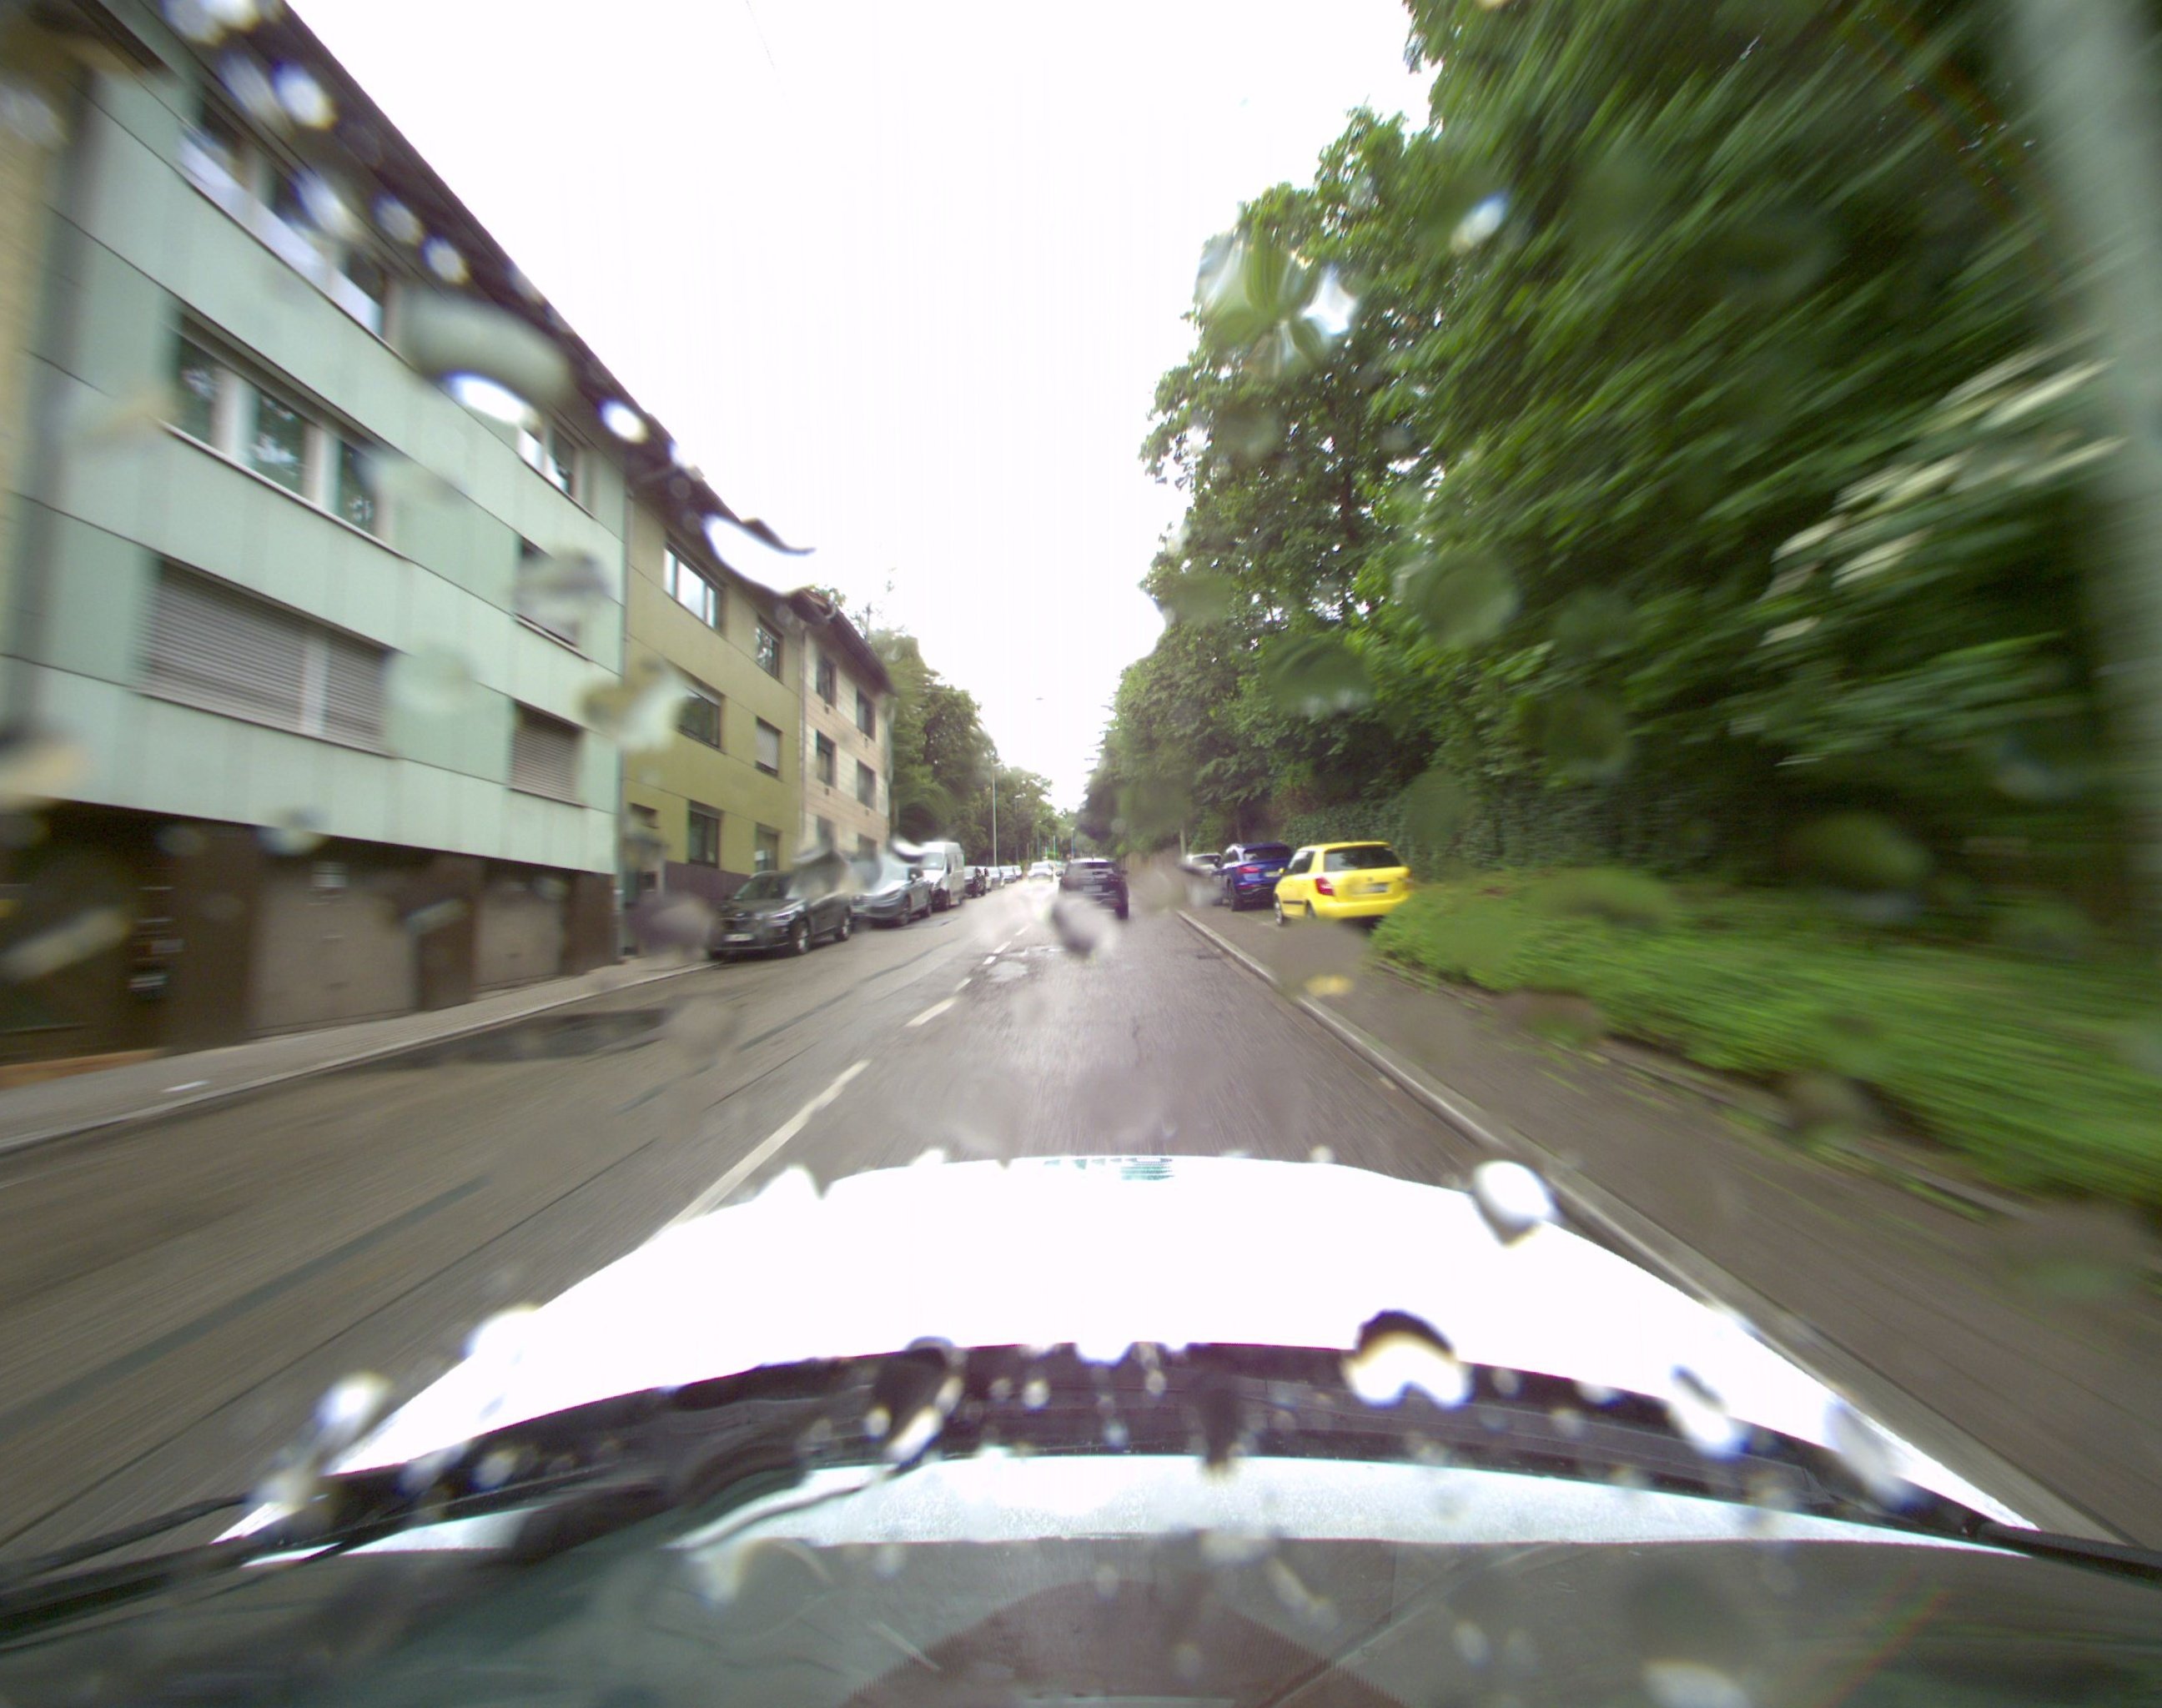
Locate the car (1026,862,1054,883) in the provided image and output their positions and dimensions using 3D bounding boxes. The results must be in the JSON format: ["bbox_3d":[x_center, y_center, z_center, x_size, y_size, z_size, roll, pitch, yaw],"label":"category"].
[{"bbox_3d":[-3.201,1.455,64.568,1.987,1.559,3.999,-1,0,0],"label":"car"}]

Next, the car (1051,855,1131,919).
[{"bbox_3d":[0.307,0.821,22.337,1.986,1.559,4.001,-1,0,1],"label":"car"}]

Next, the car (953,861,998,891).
[{"bbox_3d":[-6.144,1.279,47.883,1.984,1.566,4.458,-2,0,0],"label":"car"}]

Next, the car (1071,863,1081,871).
[{"bbox_3d":[-1.063,2.933,183.862,2.068,1.559,3.999,-2,0,0],"label":"car"}]

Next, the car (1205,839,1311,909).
[{"bbox_3d":[4.498,0.496,21.341,1.804,1.530,4.418,-4,-1,1],"label":"car"}]

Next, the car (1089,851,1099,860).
[{"bbox_3d":[2.837,0.311,174.288,1.985,1.560,4.003,-3,-2,4],"label":"car"}]

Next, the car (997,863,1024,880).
[{"bbox_3d":[-6.305,1.578,73.598,1.984,1.384,4.458,-2,0,0],"label":"car"}]

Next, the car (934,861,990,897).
[{"bbox_3d":[-5.843,1.209,40.523,1.984,1.566,4.458,-2,0,0],"label":"car"}]

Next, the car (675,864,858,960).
[{"bbox_3d":[-6.194,1.060,16.658,1.984,1.585,4.305,-2,0,0],"label":"car"}]

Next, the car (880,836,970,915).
[{"bbox_3d":[-5.475,0.697,29.360,1.984,2.475,5.784,-2,0,0],"label":"car"}]

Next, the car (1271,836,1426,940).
[{"bbox_3d":[4.456,0.517,14.164,1.625,1.530,4.004,-1,0,4],"label":"car"}]

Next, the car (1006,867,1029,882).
[{"bbox_3d":[-6.564,2.084,85.046,1.984,1.384,4.458,-2,0,0],"label":"car"}]

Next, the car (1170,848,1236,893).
[{"bbox_3d":[4.743,0.643,32.206,1.805,1.530,4.415,-4,-1,-1],"label":"car"}]

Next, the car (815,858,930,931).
[{"bbox_3d":[-5.683,1.025,22.828,1.984,1.755,4.480,-2,0,0],"label":"car"}]

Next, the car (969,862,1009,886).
[{"bbox_3d":[-5.932,1.238,53.008,1.984,1.384,4.458,-2,0,0],"label":"car"}]
